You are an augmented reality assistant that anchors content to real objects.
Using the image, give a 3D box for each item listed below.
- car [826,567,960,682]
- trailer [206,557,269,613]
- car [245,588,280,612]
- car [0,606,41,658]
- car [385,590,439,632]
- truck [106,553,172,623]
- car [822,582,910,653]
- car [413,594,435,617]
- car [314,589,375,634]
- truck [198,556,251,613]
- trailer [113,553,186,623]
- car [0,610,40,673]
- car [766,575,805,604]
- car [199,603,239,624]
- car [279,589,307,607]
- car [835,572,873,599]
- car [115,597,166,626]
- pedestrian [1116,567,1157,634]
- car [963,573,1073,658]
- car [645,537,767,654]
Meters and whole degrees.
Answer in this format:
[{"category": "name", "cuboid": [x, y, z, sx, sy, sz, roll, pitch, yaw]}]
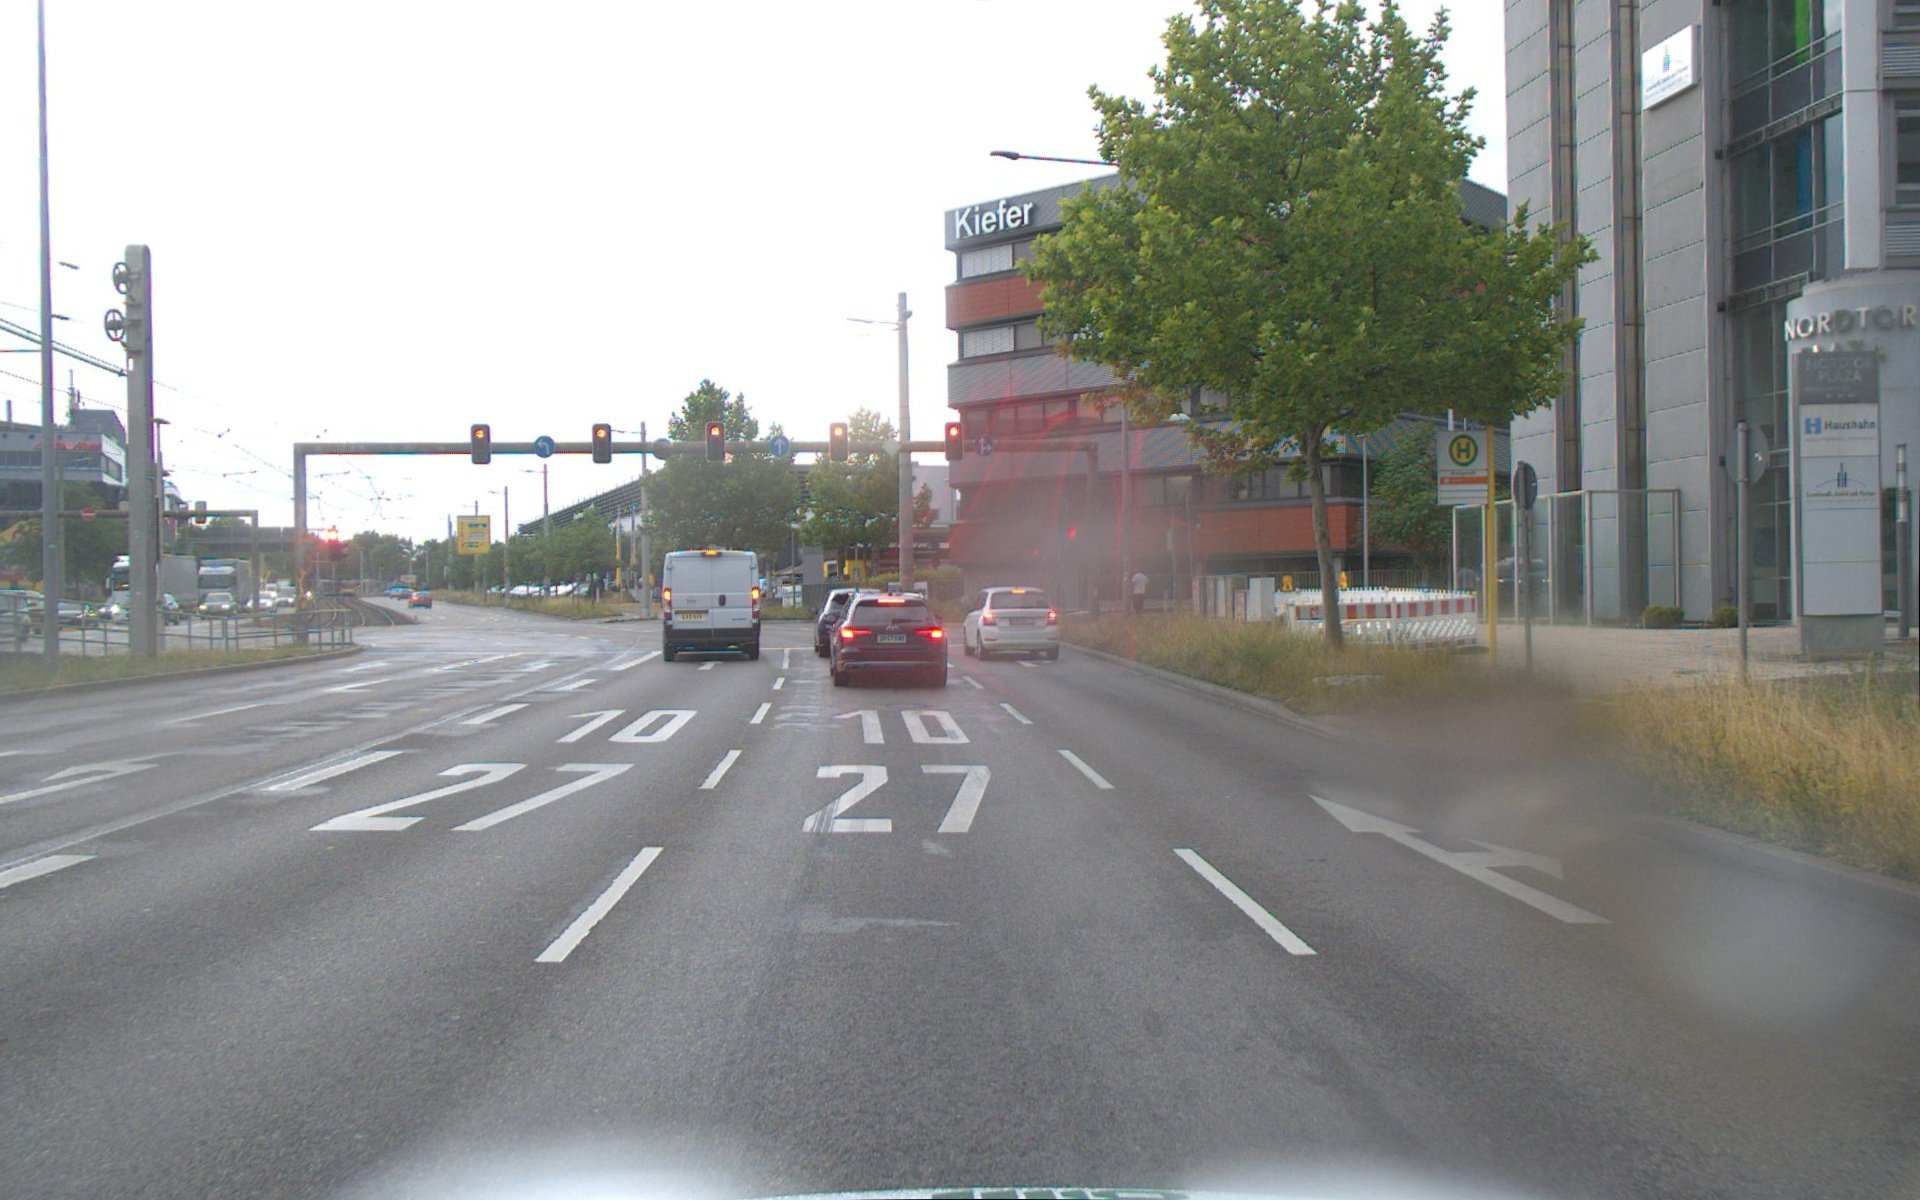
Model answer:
[{"category": "car", "cuboid": [-1.136, 0.385, 26.567, 1.954, 1.666, 3.996, 1, -1, -4]}, {"category": "trailer", "cuboid": [-57.553, -1.078, 131.982, 2.606, 4.197, 12.693, -1, 0, -15]}, {"category": "car", "cuboid": [-52.571, 0.026, 124.651, 1.856, 1.681, 4.078, 1, -1, -15]}, {"category": "car", "cuboid": [-32.077, 1.036, 54.761, 1.500, 1.696, 4.259, 1, -1, -9]}, {"category": "car", "cuboid": [-27.801, 0.539, 83.986, 1.739, 2.049, 4.340, 1, 0, -7]}, {"category": "truck", "cuboid": [-49.485, -0.736, 99.827, 2.789, 4.065, 5.953, -1, 1, -19]}, {"category": "car", "cuboid": [-2.090, 0.397, 37.188, 1.856, 1.491, 3.907, -1, -1, -3]}, {"category": "car", "cuboid": [-48.958, 0.486, 151.052, 1.746, 2.049, 4.323, 1, -1, -19]}, {"category": "car", "cuboid": [-29.245, 0.530, 78.753, 1.739, 2.049, 4.340, 1, 0, -7]}, {"category": "truck", "cuboid": [-56.023, -1.150, 126.137, 2.621, 4.202, 6.162, -1, 0, -14]}, {"category": "trailer", "cuboid": [-51.280, -0.783, 104.897, 2.753, 4.179, 11.377, -1, 1, -19]}, {"category": "car", "cuboid": [-32.290, 1.347, 54.829, 1.740, 2.049, 4.337, 1, -1, -10]}, {"category": "car", "cuboid": [-12.895, -0.749, 122.074, 1.965, 2.067, 3.976, -2, 0, -20]}, {"category": "car", "cuboid": [-47.614, 0.865, 106.343, 1.879, 1.286, 4.390, 1, -1, -19]}, {"category": "car", "cuboid": [-61.592, -0.165, 152.705, 1.872, 1.582, 4.545, 1, -1, -16]}, {"category": "car", "cuboid": [-8.672, -1.153, 134.568, 1.846, 2.049, 3.744, 2, -1, -25]}, {"category": "car", "cuboid": [-43.414, 0.616, 87.677, 1.711, 1.488, 4.133, 1, -1, -17]}, {"category": "pedestrian", "cuboid": [5.832, 0.000, 54.697, 1.121, 2.162, 1.221, -2, 2, -5]}, {"category": "car", "cuboid": [1.157, 0.331, 34.847, 1.793, 1.685, 3.995, 0, -1, -6]}, {"category": "car", "cuboid": [-5.578, -0.054, 36.089, 2.401, 2.334, 4.893, 1, -1, -10]}]
